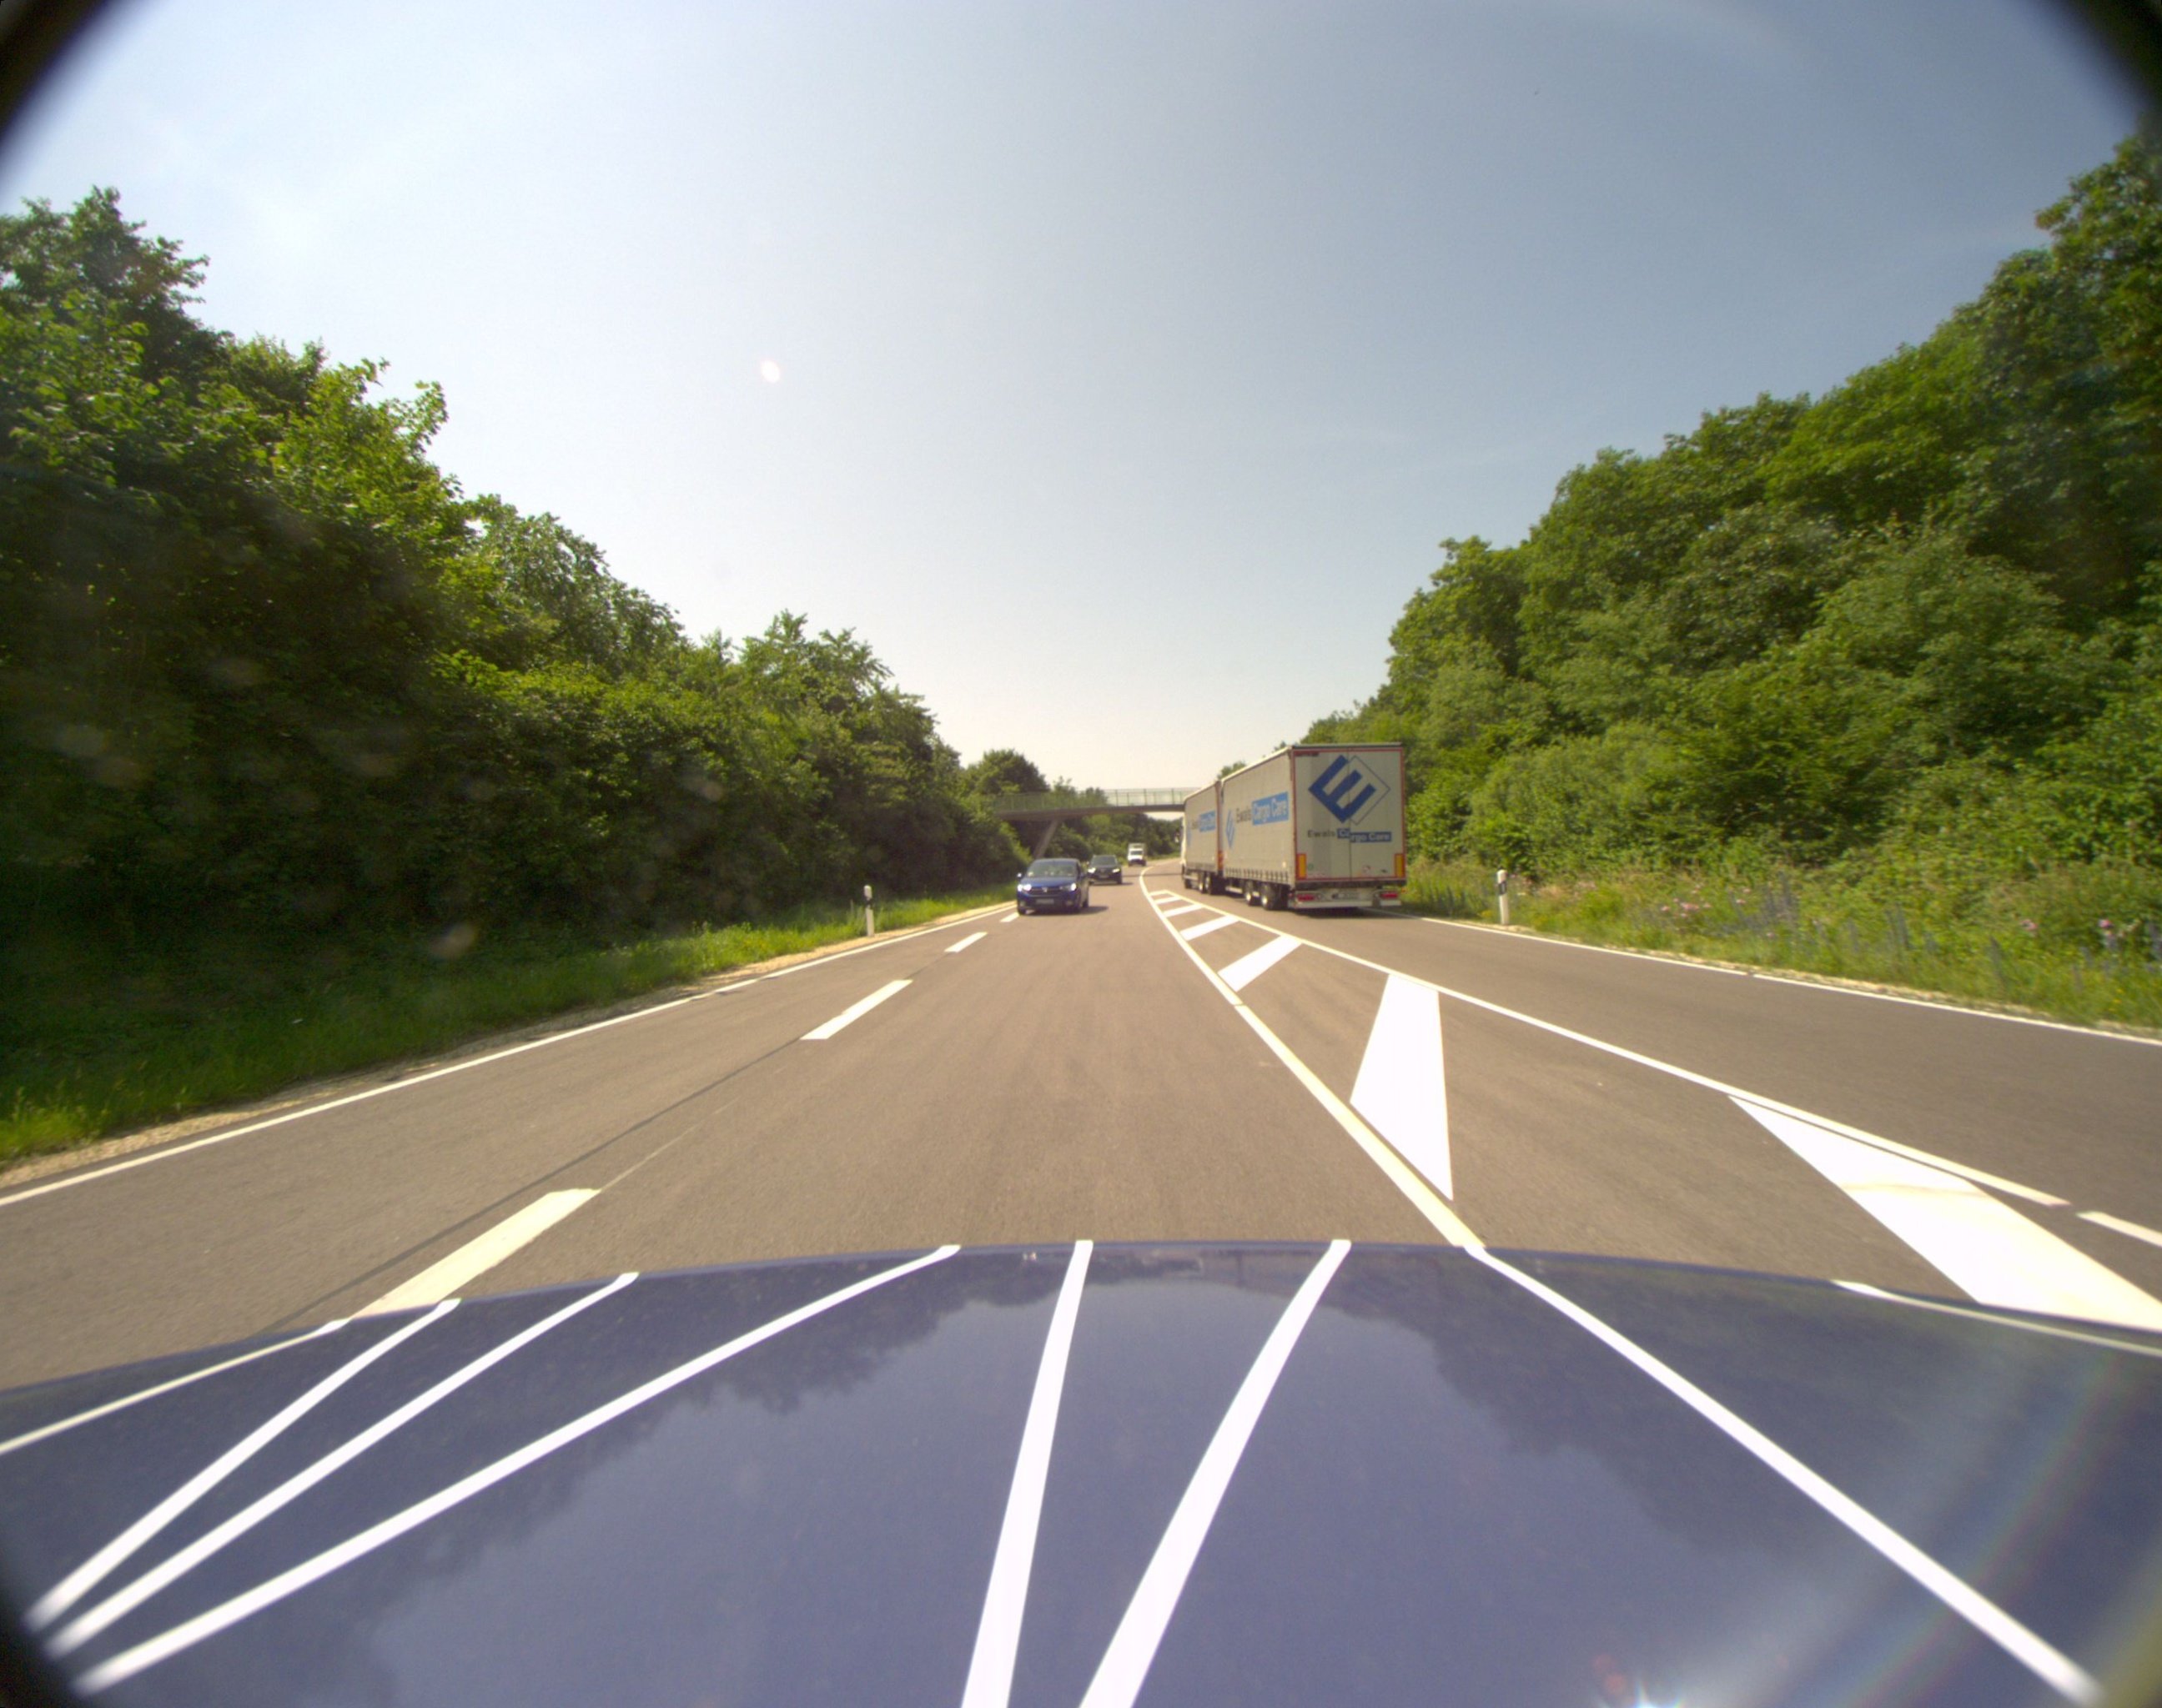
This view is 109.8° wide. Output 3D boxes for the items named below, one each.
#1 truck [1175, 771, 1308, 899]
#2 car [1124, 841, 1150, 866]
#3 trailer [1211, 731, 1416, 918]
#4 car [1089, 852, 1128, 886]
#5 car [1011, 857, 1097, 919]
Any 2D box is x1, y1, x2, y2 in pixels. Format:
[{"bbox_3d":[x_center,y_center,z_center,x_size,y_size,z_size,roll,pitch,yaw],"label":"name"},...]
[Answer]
[{"bbox_3d":[5.906,-0.618,30.251,2.805,4.071,11.062,-2,0,0],"label":"truck"},{"bbox_3d":[7.366,-0.119,98.824,2.590,3.046,6.886,-2,0,10],"label":"car"},{"bbox_3d":[5.965,-0.645,21.466,2.835,4.072,9.000,-2,0,-1],"label":"trailer"},{"bbox_3d":[1.620,0.785,43.112,1.923,1.711,5.480,-2,0,5],"label":"car"},{"bbox_3d":[-0.665,0.915,21.901,1.807,1.532,3.947,-2,1,8],"label":"car"}]
